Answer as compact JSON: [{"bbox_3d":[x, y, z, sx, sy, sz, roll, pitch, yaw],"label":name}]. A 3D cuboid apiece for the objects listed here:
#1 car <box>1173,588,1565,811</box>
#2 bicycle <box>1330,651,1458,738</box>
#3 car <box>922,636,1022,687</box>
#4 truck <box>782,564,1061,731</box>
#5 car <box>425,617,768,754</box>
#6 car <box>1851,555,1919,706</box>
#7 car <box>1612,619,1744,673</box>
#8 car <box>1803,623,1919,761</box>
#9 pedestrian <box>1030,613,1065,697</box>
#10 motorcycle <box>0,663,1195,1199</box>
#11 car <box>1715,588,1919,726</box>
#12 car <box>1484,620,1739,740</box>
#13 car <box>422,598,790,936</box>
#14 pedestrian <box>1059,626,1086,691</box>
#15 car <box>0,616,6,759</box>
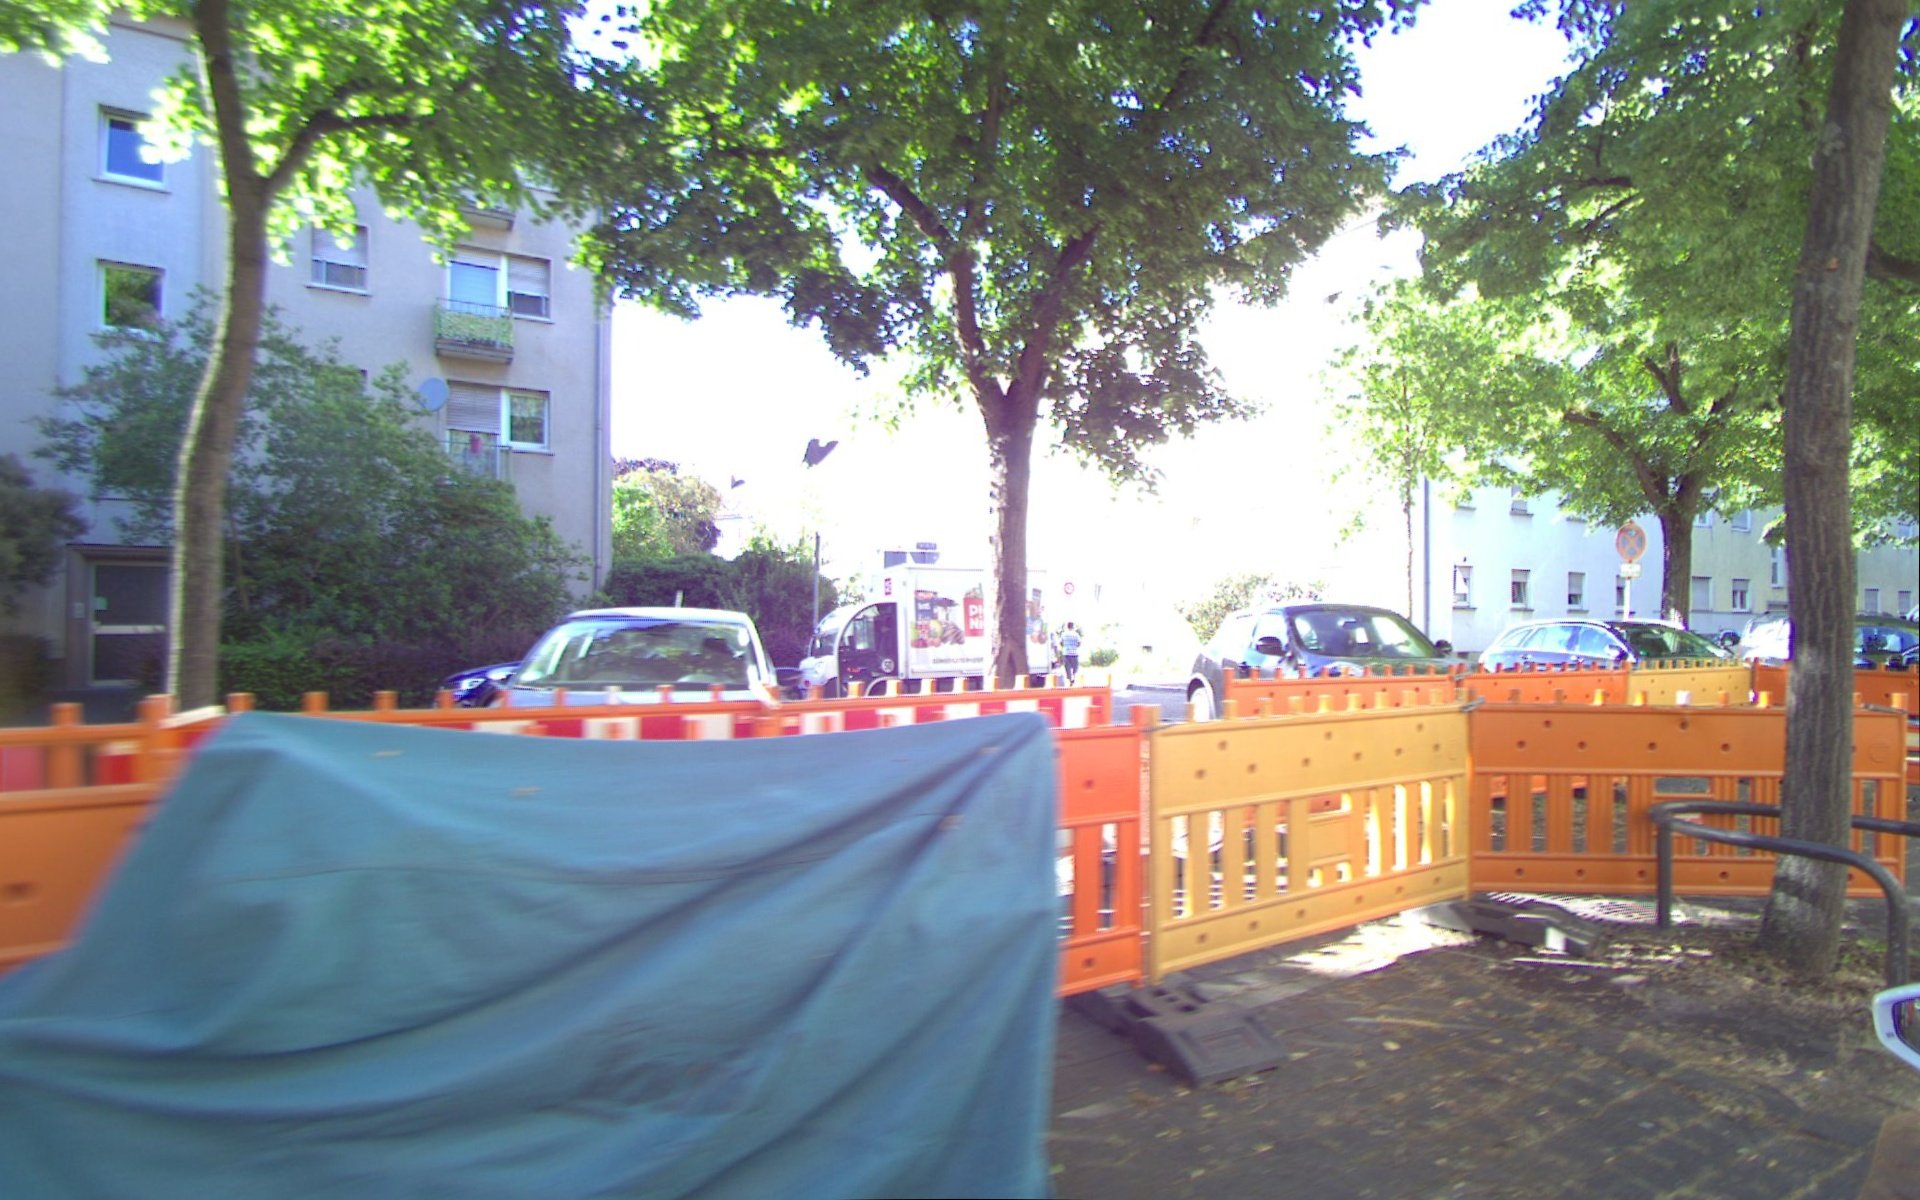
[{"bbox_3d":[3.521,0.800,9.586,1.667,1.647,4.129,0,-2,-7],"label":"car"},{"bbox_3d":[5.393,1.145,12.579,0.280,0.993,1.616,1,-2,-30],"label":"bicycle"},{"bbox_3d":[0.332,2.002,33.478,1.633,1.538,3.970,1,-1,-29],"label":"car"},{"bbox_3d":[-0.609,0.750,16.505,4.211,2.441,1.914,1,-2,-28],"label":"truck"},{"bbox_3d":[-4.878,1.053,13.687,4.147,1.595,1.612,1,0,-33],"label":"car"},{"bbox_3d":[17.579,0.527,15.440,2.291,2.592,6.330,1,0,2],"label":"car"},{"bbox_3d":[20.831,1.315,29.108,4.037,1.455,1.740,1,-3,-33],"label":"car"},{"bbox_3d":[11.605,1.019,10.774,1.668,1.545,4.102,1,-3,0],"label":"car"},{"bbox_3d":[1.958,1.225,22.418,0.657,1.847,0.583,0,-1,-9],"label":"pedestrian"},{"bbox_3d":[-0.700,0.817,1.936,2.192,1.342,0.631,1,0,-15],"label":"motorcycle"},{"bbox_3d":[14.395,0.849,16.173,1.959,1.940,4.387,0,-1,13],"label":"car"},{"bbox_3d":[8.856,1.017,13.902,1.223,1.472,2.949,1,-1,-13],"label":"car"},{"bbox_3d":[-1.903,0.787,6.475,1.549,1.480,3.907,0,-1,-9],"label":"car"},{"bbox_3d":[2.958,1.527,26.413,0.551,1.661,0.484,1,-2,-40],"label":"pedestrian"},{"bbox_3d":[-12.010,0.921,9.445,4.065,1.579,1.711,1,-2,-30],"label":"car"}]
